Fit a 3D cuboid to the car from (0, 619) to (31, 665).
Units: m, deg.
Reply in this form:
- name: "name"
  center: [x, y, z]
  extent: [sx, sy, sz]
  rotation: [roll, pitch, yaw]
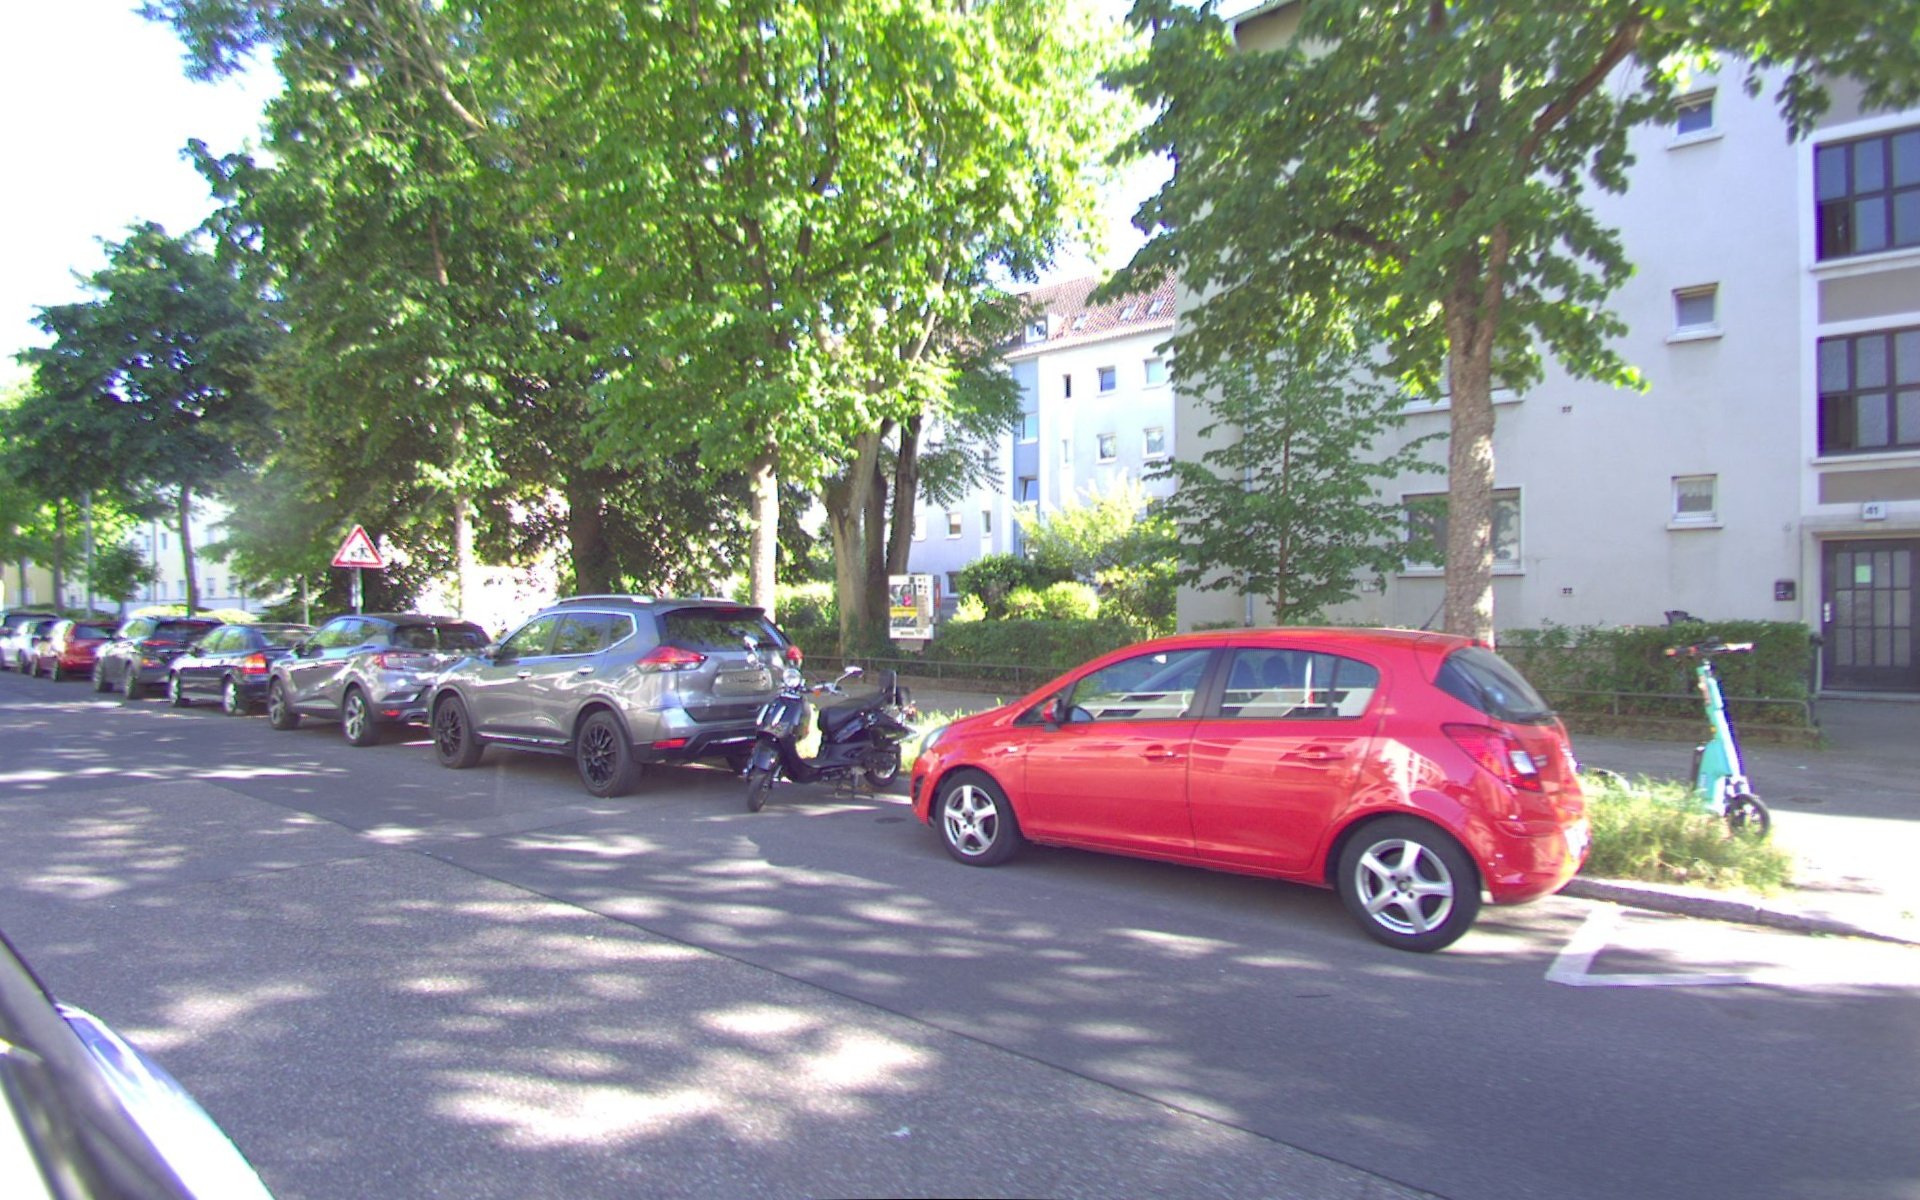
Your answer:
- name: "car"
  center: [-33.050, 1.404, 34.205]
  extent: [4.483, 1.492, 1.690]
  rotation: [-1, -1, 38]

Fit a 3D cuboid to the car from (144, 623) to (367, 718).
- name: "car"
  center: [-11.718, 1.063, 16.727]
  extent: [4.475, 1.363, 1.768]
  rotation: [-1, -1, 38]

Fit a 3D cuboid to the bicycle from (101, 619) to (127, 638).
- name: "bicycle"
  center: [-41.835, 1.391, 50.058]
  extent: [1.901, 0.923, 0.589]
  rotation: [-1, -1, 38]

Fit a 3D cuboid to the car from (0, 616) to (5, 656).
- name: "car"
  center: [-36.938, 1.321, 37.380]
  extent: [4.483, 1.463, 1.776]
  rotation: [-1, -1, 38]

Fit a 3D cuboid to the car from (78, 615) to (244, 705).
- name: "car"
  center: [-15.808, 1.102, 19.950]
  extent: [4.478, 1.589, 1.689]
  rotation: [-1, -1, 40]

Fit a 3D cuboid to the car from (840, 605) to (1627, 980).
- name: "car"
  center: [1.399, 0.795, 6.062]
  extent: [4.178, 1.481, 1.838]
  rotation: [-1, -1, 39]

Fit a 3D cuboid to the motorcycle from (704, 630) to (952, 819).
- name: "motorcycle"
  center: [-1.039, 0.931, 8.295]
  extent: [1.930, 1.342, 0.788]
  rotation: [1, -1, -43]

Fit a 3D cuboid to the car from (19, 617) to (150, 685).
- name: "car"
  center: [-21.269, 1.176, 24.550]
  extent: [4.063, 1.516, 1.638]
  rotation: [-1, -1, 38]

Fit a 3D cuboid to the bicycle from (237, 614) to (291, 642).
- name: "bicycle"
  center: [-32.662, 1.291, 47.492]
  extent: [0.775, 1.235, 1.934]
  rotation: [-1, 0, 36]

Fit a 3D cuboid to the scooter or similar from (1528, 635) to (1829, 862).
- name: "scooter or similar"
  center: [4.563, 0.869, 6.554]
  extent: [0.547, 1.244, 1.519]
  rotation: [0, -1, -22]

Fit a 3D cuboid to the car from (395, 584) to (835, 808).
- name: "car"
  center: [-3.543, 0.771, 9.895]
  extent: [4.807, 1.701, 1.751]
  rotation: [-1, -1, 38]

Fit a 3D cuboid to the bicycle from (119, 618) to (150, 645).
- name: "bicycle"
  center: [-37.412, 1.402, 45.850]
  extent: [2.257, 1.199, 0.589]
  rotation: [-1, -1, 38]

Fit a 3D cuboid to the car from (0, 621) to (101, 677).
- name: "car"
  center: [-24.913, 1.278, 27.457]
  extent: [4.183, 1.384, 1.638]
  rotation: [-1, -1, 38]

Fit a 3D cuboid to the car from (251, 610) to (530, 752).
- name: "car"
  center: [-7.560, 0.926, 13.245]
  extent: [4.415, 1.543, 1.751]
  rotation: [-1, -1, 40]

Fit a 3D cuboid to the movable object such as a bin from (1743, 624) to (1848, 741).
- name: "movable object such as a bin"
  center: [8.225, 0.787, 9.980]
  extent: [0.759, 1.076, 0.687]
  rotation: [-1, -1, 40]

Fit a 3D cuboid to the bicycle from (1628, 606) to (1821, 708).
- name: "bicycle"
  center: [9.726, 0.689, 12.920]
  extent: [1.911, 1.210, 0.678]
  rotation: [-1, -1, 41]

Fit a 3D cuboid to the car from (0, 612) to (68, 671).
- name: "car"
  center: [-28.969, 1.211, 30.830]
  extent: [5.081, 1.669, 1.824]
  rotation: [-1, -1, 39]

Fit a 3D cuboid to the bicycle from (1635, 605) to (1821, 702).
- name: "bicycle"
  center: [10.177, 0.679, 13.456]
  extent: [1.911, 1.210, 0.678]
  rotation: [-1, -1, 41]

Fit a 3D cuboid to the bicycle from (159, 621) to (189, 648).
- name: "bicycle"
  center: [-32.311, 1.409, 41.579]
  extent: [1.932, 1.069, 0.566]
  rotation: [-1, 0, 40]
